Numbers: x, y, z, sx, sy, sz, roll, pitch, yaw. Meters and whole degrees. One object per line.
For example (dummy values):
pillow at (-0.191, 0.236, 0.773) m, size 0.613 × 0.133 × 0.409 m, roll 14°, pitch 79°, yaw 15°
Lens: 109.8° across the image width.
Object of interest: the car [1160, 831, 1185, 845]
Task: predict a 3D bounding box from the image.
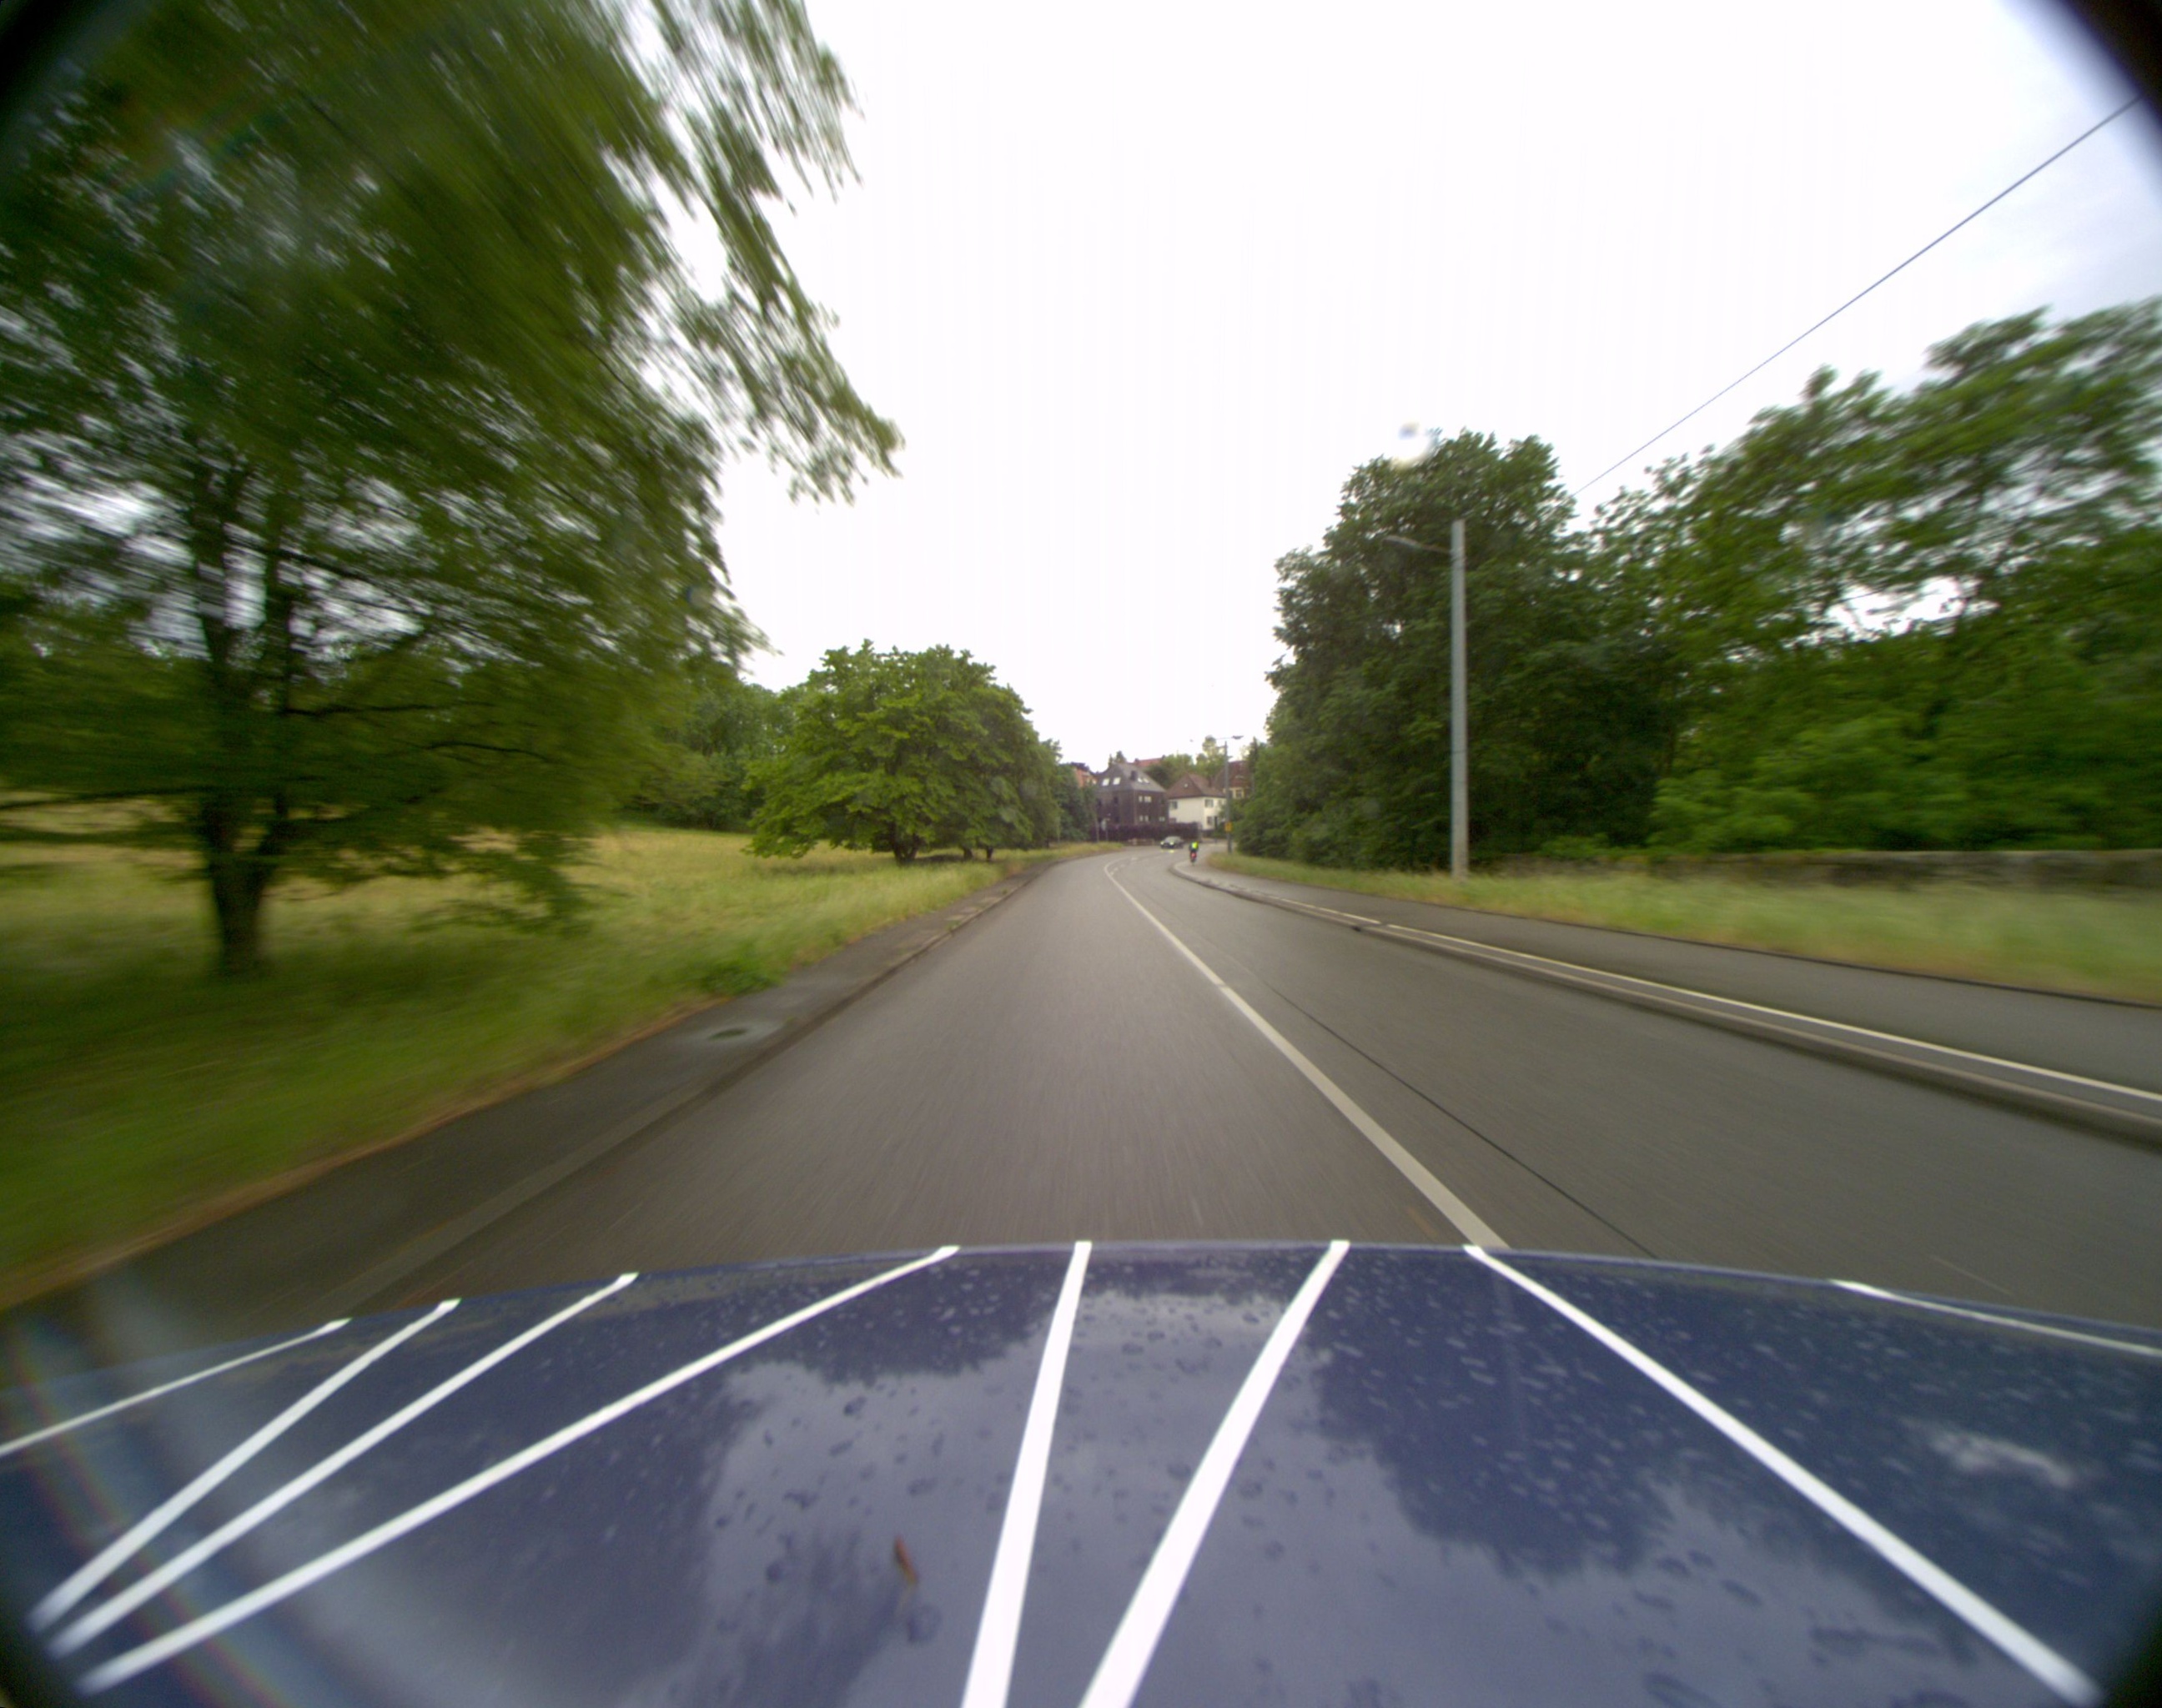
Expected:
car at (11.588, -2.002, 95.611) m, size 1.995 × 1.707 × 4.005 m, roll -1°, pitch 2°, yaw 24°

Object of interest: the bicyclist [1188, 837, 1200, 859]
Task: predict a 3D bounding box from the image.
bicyclist at (8.054, -0.422, 54.347) m, size 0.710 × 1.547 × 1.171 m, roll -3°, pitch 1°, yaw 6°

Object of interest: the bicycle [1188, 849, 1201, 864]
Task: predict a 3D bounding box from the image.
bicycle at (8.084, 0.165, 54.171) m, size 0.725 × 0.936 × 2.551 m, roll -3°, pitch 1°, yaw 6°
